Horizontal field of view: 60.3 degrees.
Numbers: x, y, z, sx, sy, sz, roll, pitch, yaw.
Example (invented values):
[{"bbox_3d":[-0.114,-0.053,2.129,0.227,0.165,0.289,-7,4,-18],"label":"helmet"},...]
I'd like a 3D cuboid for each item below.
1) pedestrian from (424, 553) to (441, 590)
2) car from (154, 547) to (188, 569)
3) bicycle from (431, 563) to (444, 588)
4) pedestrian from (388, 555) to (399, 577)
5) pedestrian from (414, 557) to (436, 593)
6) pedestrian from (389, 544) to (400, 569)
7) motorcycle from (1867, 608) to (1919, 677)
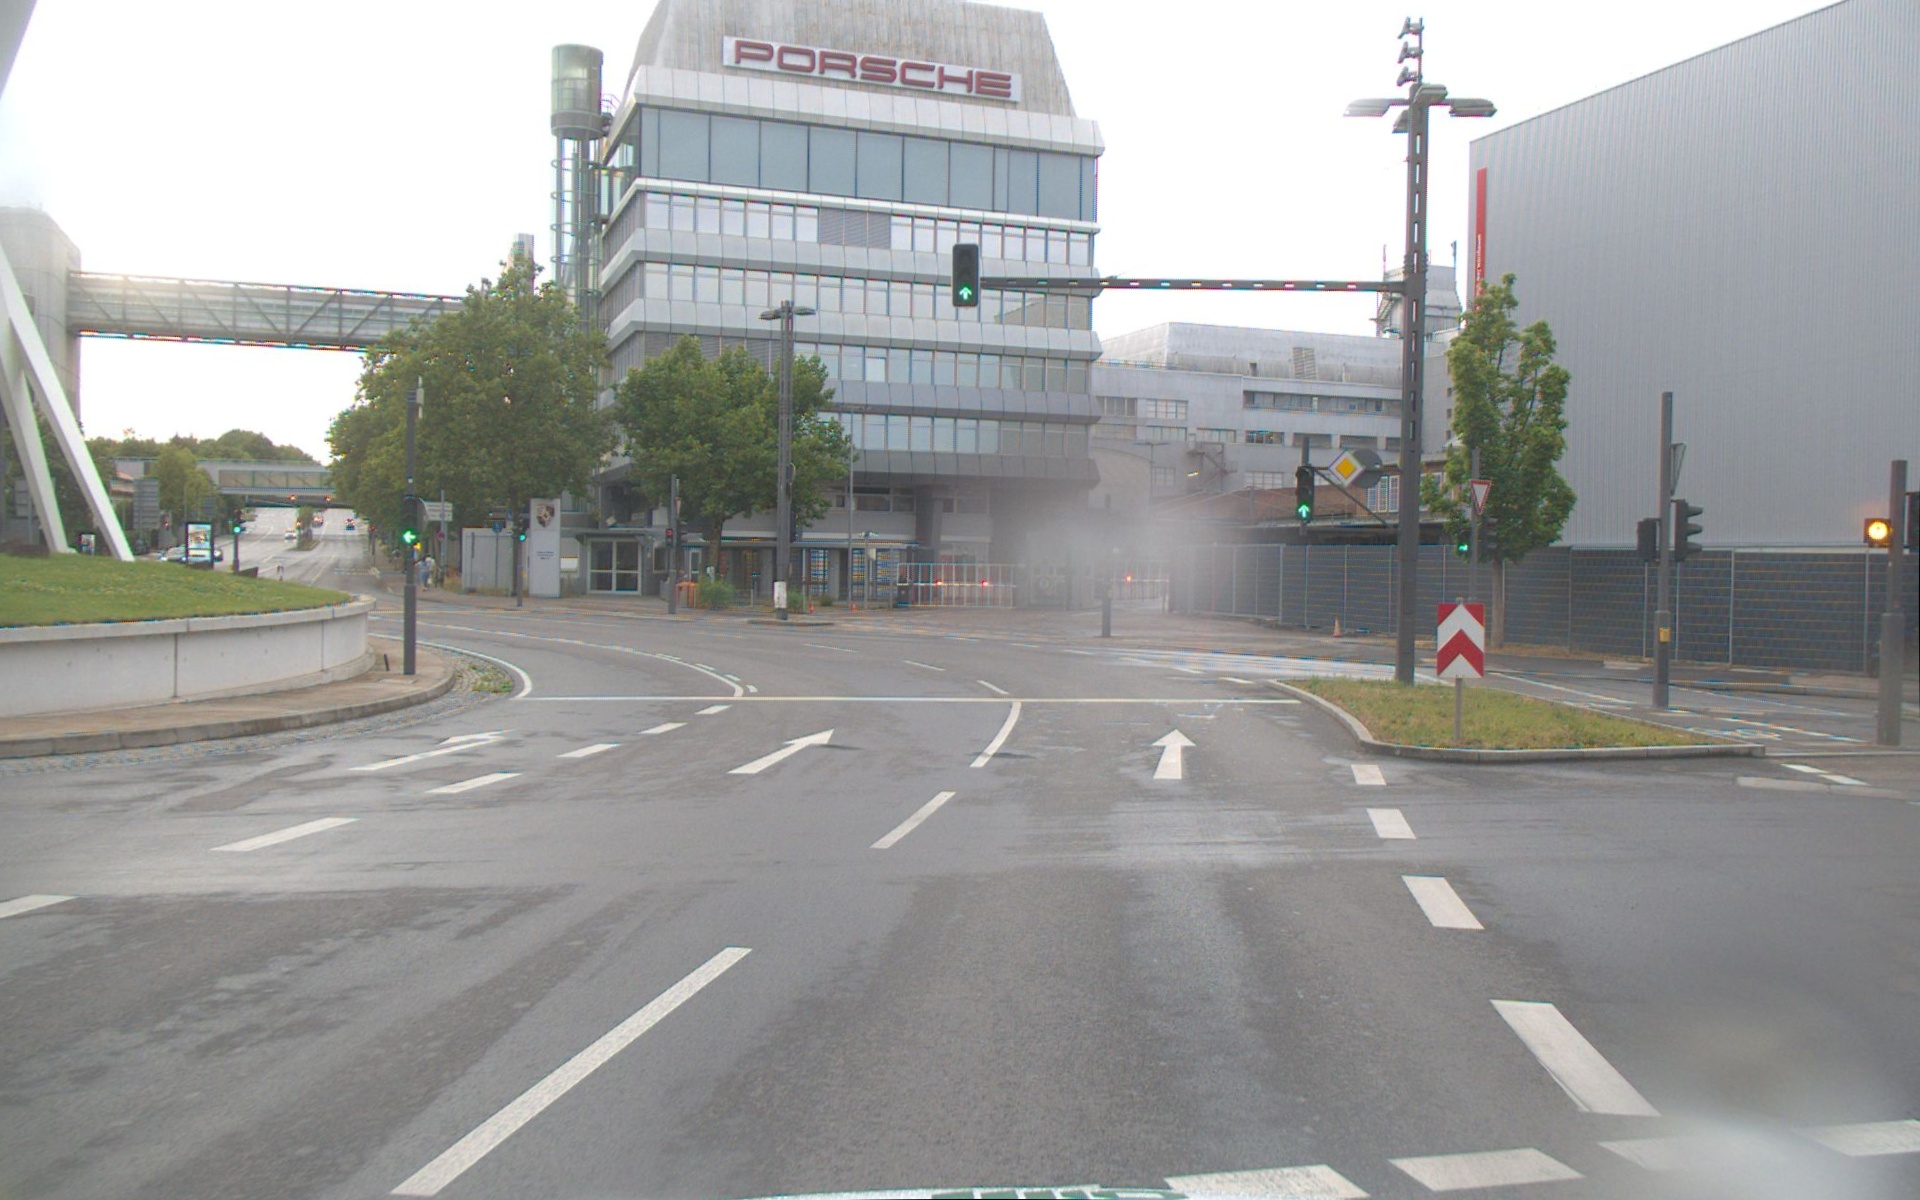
[{"bbox_3d":[-23.705,-1.283,74.297,0.697,1.619,0.837,0,1,-16],"label":"pedestrian"},{"bbox_3d":[-54.837,-2.956,115.022,1.757,1.465,4.369,0,2,-21],"label":"car"},{"bbox_3d":[-24.807,-1.180,78.501,0.337,1.138,1.957,0,2,-26],"label":"bicycle"},{"bbox_3d":[-52.784,-3.136,154.050,0.749,2.049,0.692,1,0,-4],"label":"pedestrian"},{"bbox_3d":[-23.502,-1.116,72.659,0.817,1.547,0.839,0,1,-14],"label":"pedestrian"},{"bbox_3d":[-40.968,-3.172,119.880,0.701,1.770,0.755,2,-1,-21],"label":"pedestrian"},{"bbox_3d":[19.656,0.884,33.561,2.050,1.333,0.656,3,1,19],"label":"motorcycle"}]
